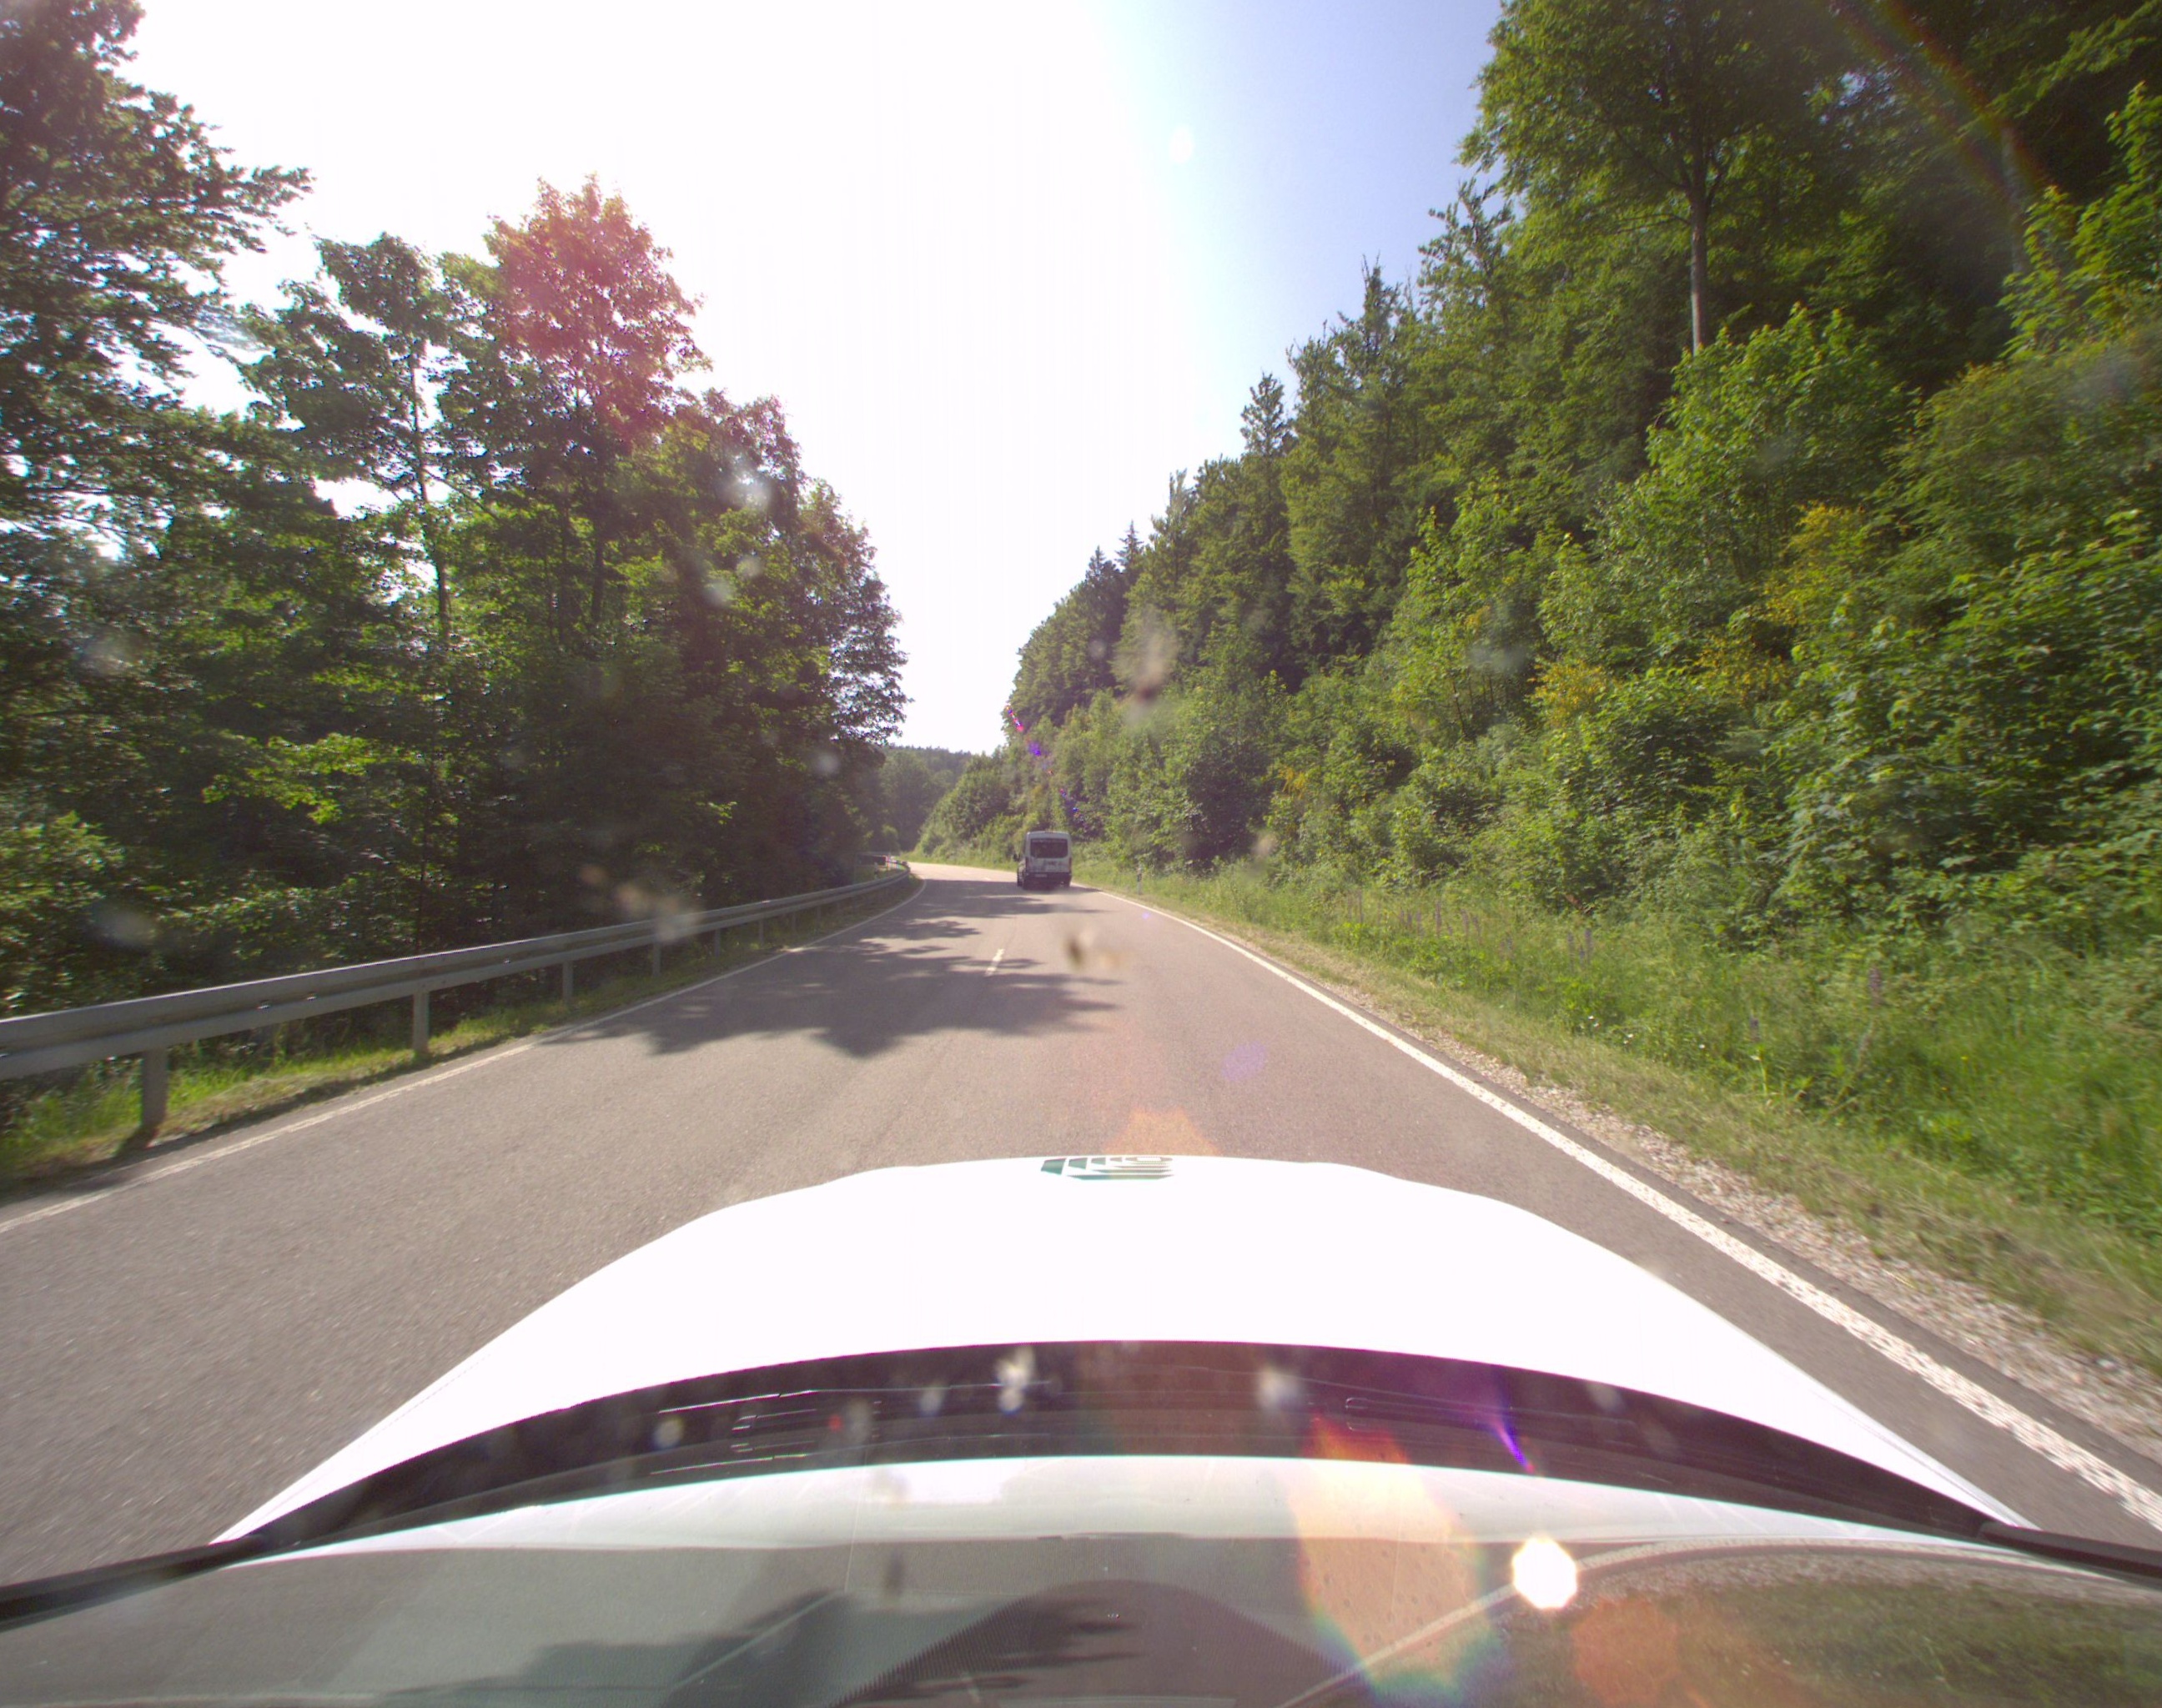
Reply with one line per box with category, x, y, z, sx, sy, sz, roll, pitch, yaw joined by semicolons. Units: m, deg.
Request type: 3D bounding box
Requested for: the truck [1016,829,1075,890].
truck;-1.657;0.213;36.266;2.114;2.498;5.344;-1;0;-8
